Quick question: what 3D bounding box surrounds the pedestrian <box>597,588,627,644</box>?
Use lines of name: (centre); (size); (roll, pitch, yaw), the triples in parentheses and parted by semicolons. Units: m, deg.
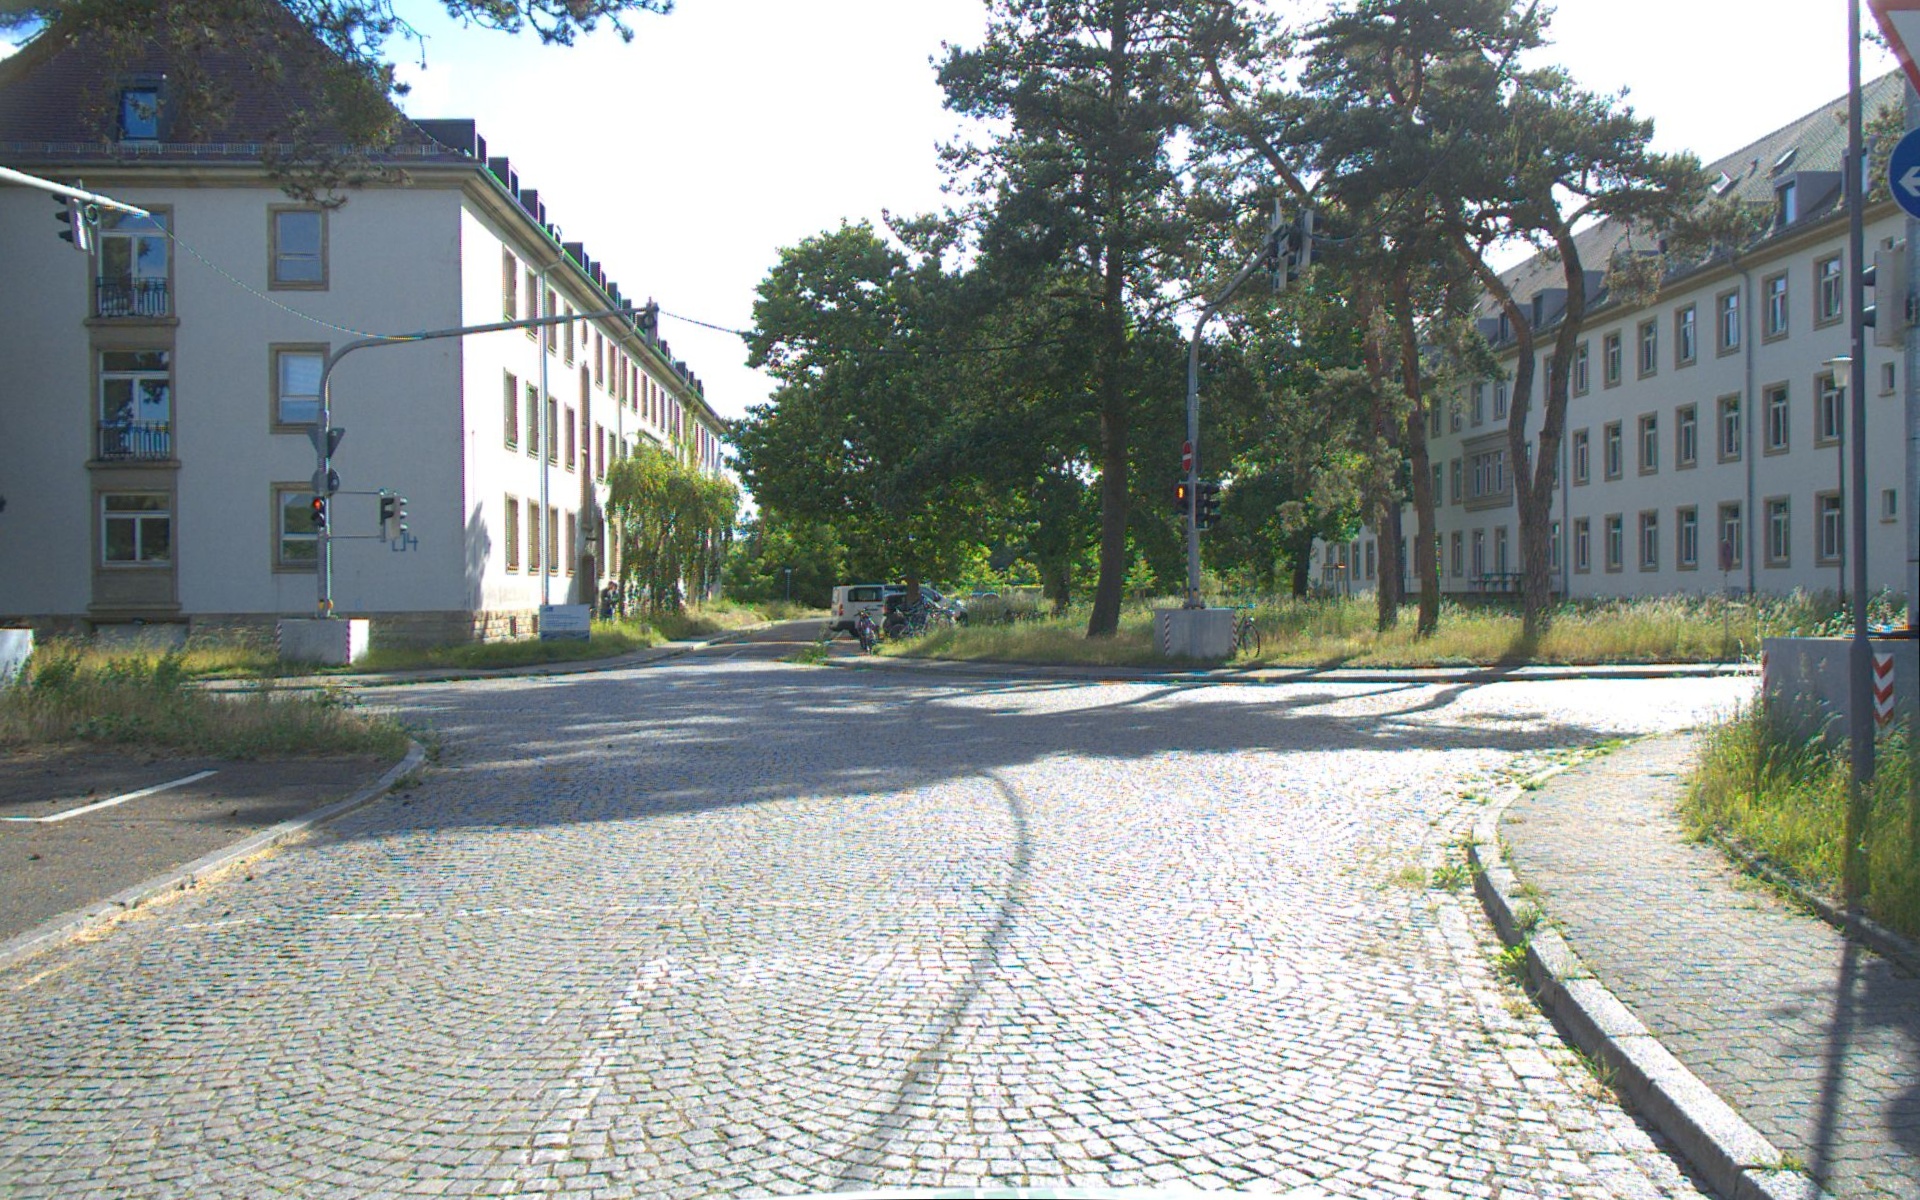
pedestrian: (-11.555, 0.529, 54.902); (0.751, 1.849, 0.683); (-1, 0, 8)

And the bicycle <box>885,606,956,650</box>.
bicycle: (-1.084, 0.755, 45.084); (1.903, 1.149, 0.749); (-1, 0, -6)

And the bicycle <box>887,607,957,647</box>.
bicycle: (-1.016, 0.712, 44.292); (1.818, 1.049, 0.749); (-1, 0, -6)

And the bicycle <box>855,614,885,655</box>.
bicycle: (-2.226, 0.836, 40.749); (0.682, 0.988, 1.859); (0, 0, -5)

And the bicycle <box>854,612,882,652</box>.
bicycle: (-2.374, 0.821, 42.681); (0.682, 0.988, 1.859); (0, 0, -5)

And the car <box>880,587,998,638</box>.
car: (-0.753, 0.415, 58.085); (3.915, 1.713, 1.842); (-1, 0, -11)

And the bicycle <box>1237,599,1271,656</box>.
bicycle: (5.767, 0.538, 32.491); (0.456, 1.099, 1.174); (-1, 0, 1)

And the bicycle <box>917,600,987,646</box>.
bicycle: (-0.220, 0.631, 45.831); (1.903, 1.257, 0.485); (-1, 0, -6)

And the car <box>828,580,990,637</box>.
car: (-1.952, 0.296, 62.202); (5.822, 2.049, 2.470); (-1, 0, -10)

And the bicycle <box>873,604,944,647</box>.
bicycle: (-1.427, 0.708, 46.286); (1.920, 1.149, 0.641); (-1, 0, -30)

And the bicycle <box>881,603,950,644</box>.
bicycle: (-1.285, 0.660, 47.385); (1.904, 1.149, 0.646); (-1, 0, -8)

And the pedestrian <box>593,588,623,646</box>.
pedestrian: (-11.447, 0.553, 53.792); (0.794, 1.849, 0.555); (-1, 0, 8)
